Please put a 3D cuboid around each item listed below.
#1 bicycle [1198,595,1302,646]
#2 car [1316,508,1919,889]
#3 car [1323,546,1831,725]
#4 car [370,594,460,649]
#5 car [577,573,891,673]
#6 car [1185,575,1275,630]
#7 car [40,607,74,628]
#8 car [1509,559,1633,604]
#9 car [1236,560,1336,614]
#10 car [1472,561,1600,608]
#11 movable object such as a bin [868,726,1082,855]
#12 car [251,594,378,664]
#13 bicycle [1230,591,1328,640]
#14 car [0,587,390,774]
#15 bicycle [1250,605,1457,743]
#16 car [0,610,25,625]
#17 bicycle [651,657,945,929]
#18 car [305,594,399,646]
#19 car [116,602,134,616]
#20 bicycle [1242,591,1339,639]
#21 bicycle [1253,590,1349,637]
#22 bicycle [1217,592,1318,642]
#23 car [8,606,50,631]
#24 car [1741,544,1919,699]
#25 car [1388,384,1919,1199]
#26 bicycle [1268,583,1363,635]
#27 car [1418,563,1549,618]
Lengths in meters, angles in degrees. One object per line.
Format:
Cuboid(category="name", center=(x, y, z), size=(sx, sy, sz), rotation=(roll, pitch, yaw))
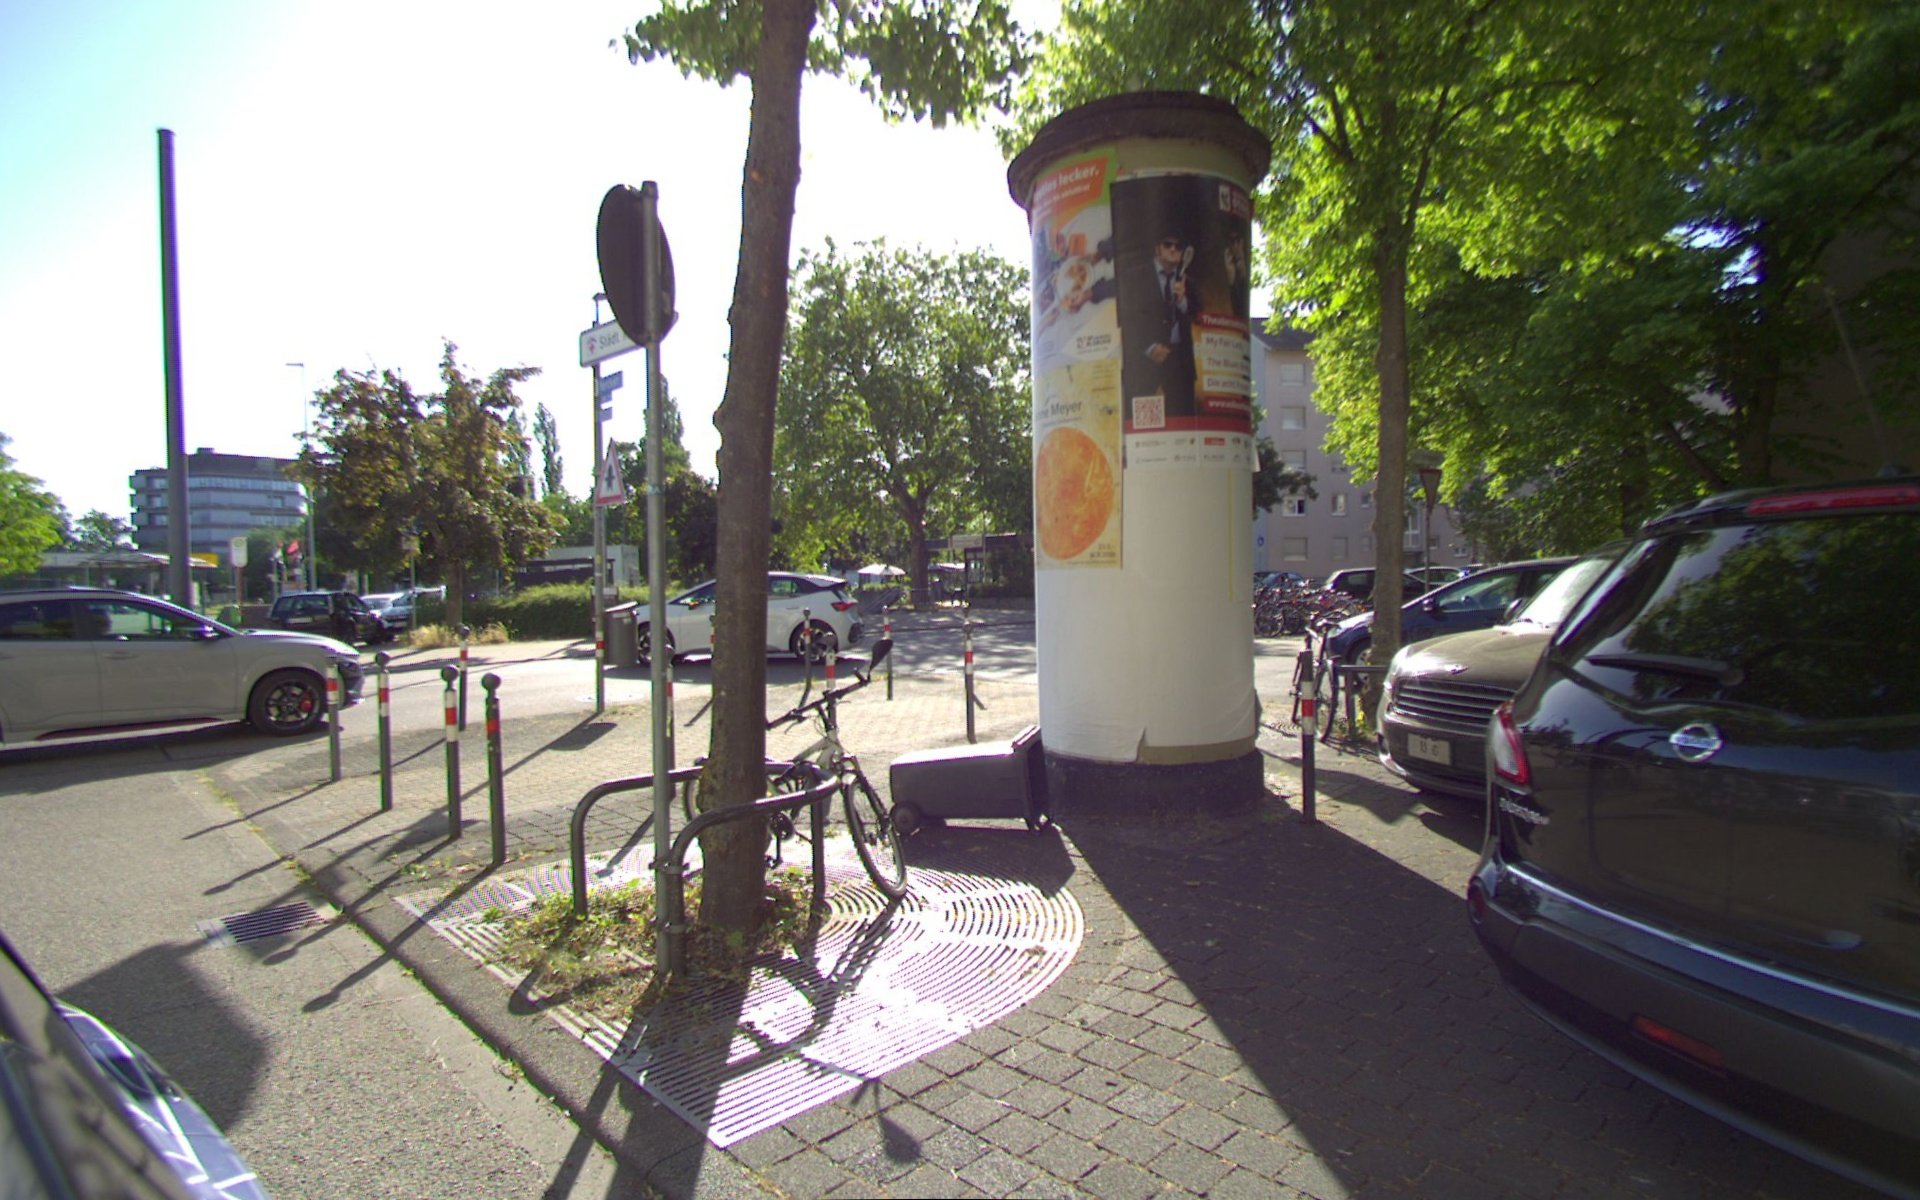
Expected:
Cuboid(category="bicycle", center=(6.164, 0.432, 21.583), size=(2.031, 1.039, 0.564), rotation=(-2, 0, 38))
Cuboid(category="car", center=(4.343, 0.373, 5.947), size=(3.931, 1.623, 1.929), rotation=(-2, 0, -23))
Cuboid(category="car", center=(6.387, 0.287, 10.860), size=(1.880, 1.530, 4.305), rotation=(-2, 1, -43))
Cuboid(category="car", center=(-17.193, 0.629, 32.094), size=(1.769, 1.591, 4.012), rotation=(-1, 0, -18))
Cuboid(category="car", center=(-3.822, 0.374, 17.611), size=(4.973, 1.530, 1.921), rotation=(-2, 1, 5))
Cuboid(category="car", center=(8.314, 0.040, 31.019), size=(1.618, 1.573, 3.218), rotation=(-1, 1, 36))
Cuboid(category="car", center=(-72.811, 1.375, 81.659), size=(1.969, 1.564, 4.491), rotation=(-2, 1, -41))
Cuboid(category="car", center=(21.881, -0.642, 36.381), size=(3.568, 1.492, 1.610), rotation=(-1, 1, 22))
Cuboid(category="car", center=(12.917, -0.518, 39.992), size=(2.164, 2.029, 4.365), rotation=(-1, 1, 42))
Cuboid(category="car", center=(19.547, -0.517, 34.520), size=(3.568, 1.492, 1.610), rotation=(-1, 1, 22))
Cuboid(category="movable object such as a bin", center=(0.088, 1.077, 5.905), size=(1.108, 0.569, 0.572), rotation=(-1, 1, 26))
Cuboid(category="car", center=(-16.276, 0.667, 25.709), size=(1.656, 1.519, 3.607), rotation=(-4, 1, -16))
Cuboid(category="bicycle", center=(7.060, 0.348, 22.470), size=(2.031, 1.039, 0.463), rotation=(-2, 0, 38))
Cuboid(category="car", center=(-8.417, 0.712, 10.045), size=(1.906, 1.564, 4.421), rotation=(-1, 1, 43))
Cuboid(category="bicycle", center=(3.306, 0.595, 8.595), size=(1.589, 1.080, 0.349), rotation=(-1, 1, 36))
Cuboid(category="car", center=(-110.461, 2.070, 117.872), size=(4.485, 1.674, 1.972), rotation=(-1, 1, 43))
Cuboid(category="bicycle", center=(-0.820, 0.842, 4.839), size=(1.589, 1.080, 0.349), rotation=(-1, 1, 36))
Cuboid(category="car", center=(-19.385, 0.602, 32.416), size=(1.655, 1.519, 3.607), rotation=(-2, 1, -16))
Cuboid(category="car", center=(-126.261, 1.358, 153.025), size=(1.970, 2.029, 4.005), rotation=(-2, 1, -42))
Cuboid(category="bicycle", center=(7.422, 0.336, 22.804), size=(2.031, 1.039, 0.442), rotation=(-2, 0, 38))
Cuboid(category="bicycle", center=(7.811, 0.312, 23.256), size=(2.031, 1.039, 0.442), rotation=(-2, 0, 38))
Cuboid(category="bicycle", center=(6.686, 0.382, 22.058), size=(2.031, 1.039, 0.564), rotation=(-2, 0, 38))
Cuboid(category="car", center=(-62.208, 1.237, 67.707), size=(1.969, 1.564, 4.490), rotation=(-2, 1, -42))
Cuboid(category="car", center=(10.446, 0.176, 10.116), size=(1.733, 1.522, 3.953), rotation=(-2, 1, -43))
Cuboid(category="car", center=(3.488, 0.374, 2.340), size=(4.265, 1.683, 1.842), rotation=(-4, 1, -14))
Cuboid(category="bicycle", center=(8.524, 0.224, 24.309), size=(2.031, 1.186, 0.659), rotation=(-2, 0, 38))
Cuboid(category="car", center=(15.344, -0.270, 29.852), size=(3.235, 1.492, 1.610), rotation=(-1, 1, 22))
